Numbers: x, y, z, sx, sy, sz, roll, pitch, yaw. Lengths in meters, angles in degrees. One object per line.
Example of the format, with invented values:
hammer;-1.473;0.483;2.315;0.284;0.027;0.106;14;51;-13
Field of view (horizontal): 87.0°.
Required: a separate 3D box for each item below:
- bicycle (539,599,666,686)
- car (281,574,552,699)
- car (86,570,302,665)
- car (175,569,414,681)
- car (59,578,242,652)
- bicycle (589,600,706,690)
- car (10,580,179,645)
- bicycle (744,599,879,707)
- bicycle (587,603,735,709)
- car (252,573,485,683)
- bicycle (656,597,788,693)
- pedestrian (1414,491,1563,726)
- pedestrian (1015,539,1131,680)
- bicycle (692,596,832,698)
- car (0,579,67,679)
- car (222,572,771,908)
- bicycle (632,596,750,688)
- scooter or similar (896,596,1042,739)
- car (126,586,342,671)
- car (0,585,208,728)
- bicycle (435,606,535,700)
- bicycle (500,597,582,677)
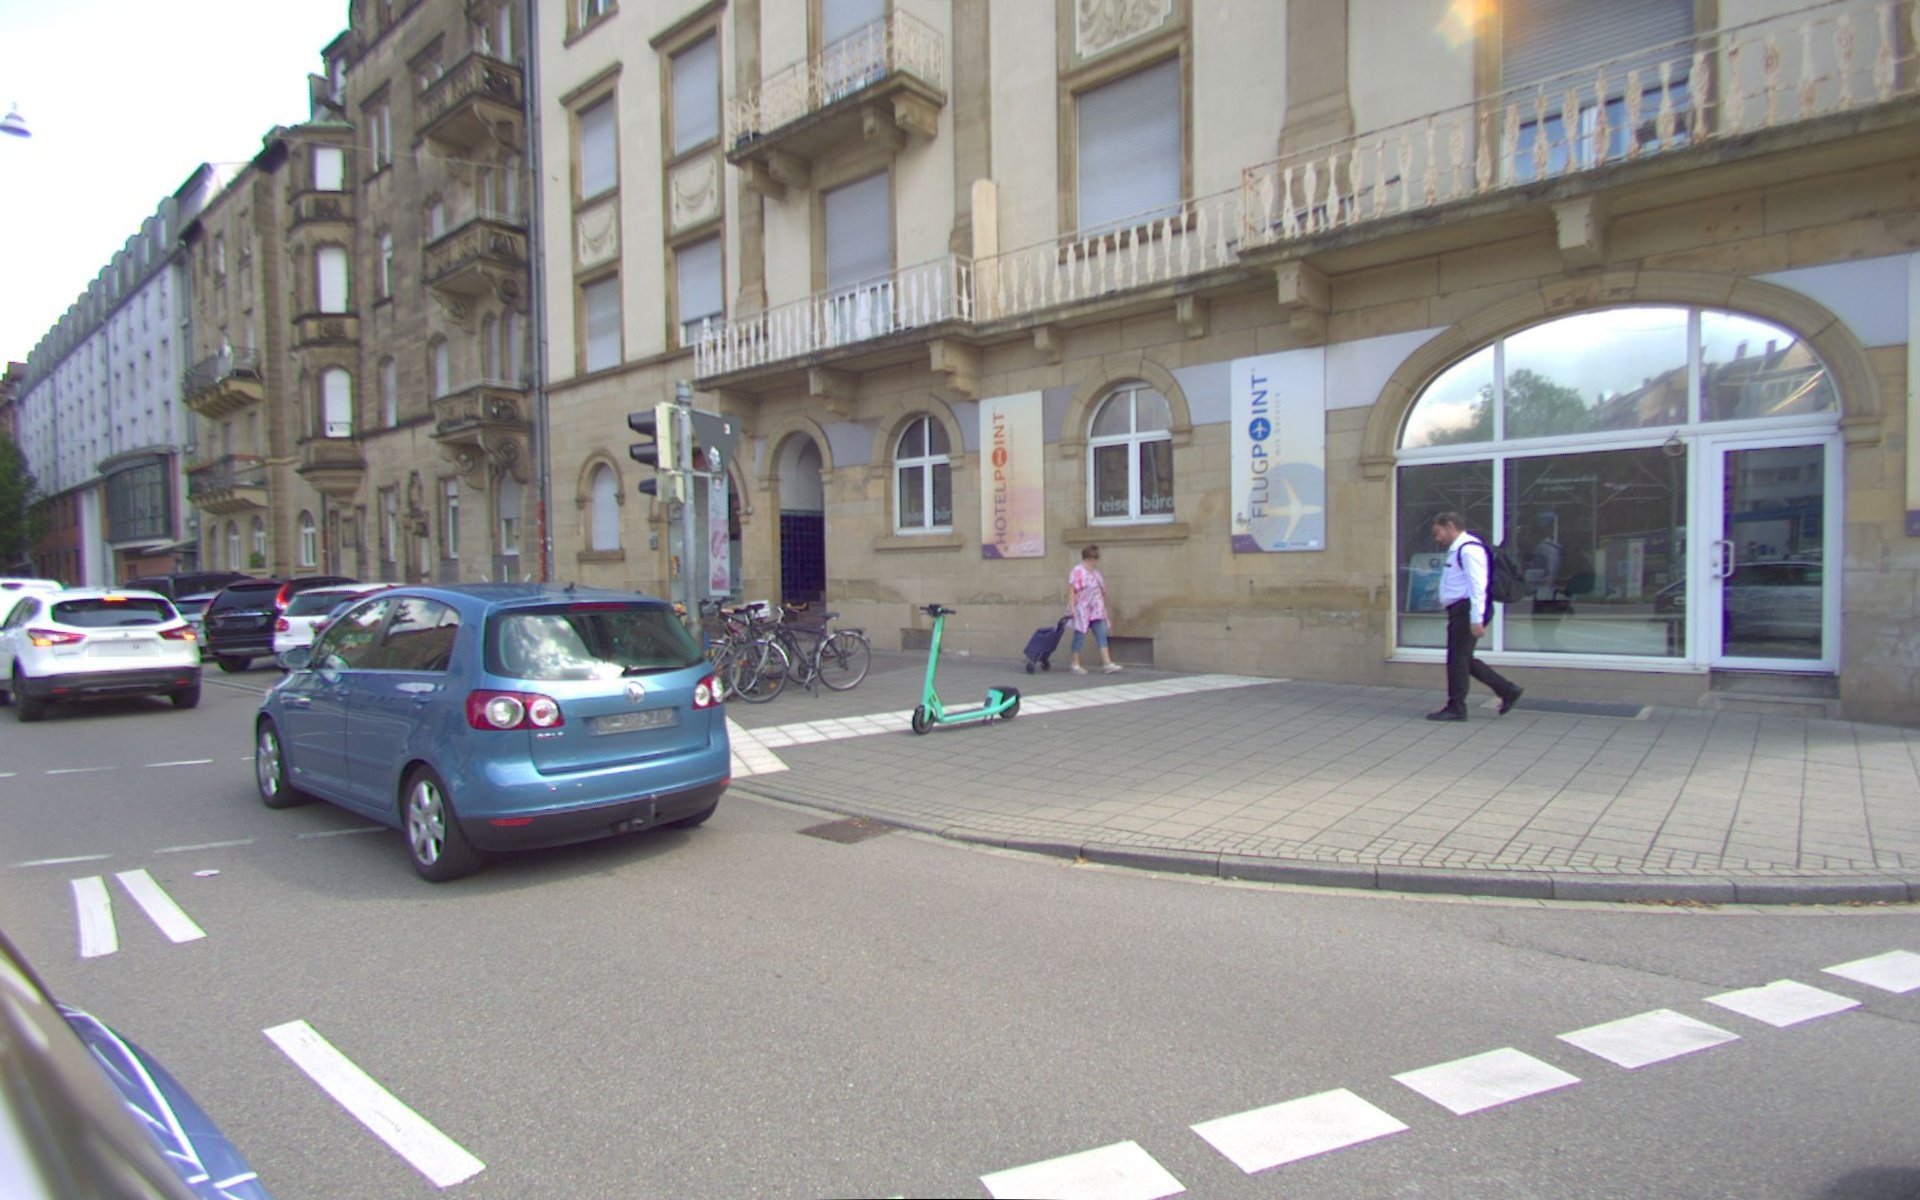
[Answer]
bicycle;-5.085;0.578;14.471;0.557;1.059;1.611;0;4;40
car;-8.113;0.446;15.600;1.788;1.467;3.997;-3;3;3
car;-17.855;0.330;23.863;1.711;1.881;3.947;-2;3;7
car;-12.532;0.378;19.408;1.778;1.701;3.954;-4;3;2
car;-22.195;0.333;27.982;1.708;1.596;3.954;-3;4;2
bicycle;-4.225;0.580;13.778;0.462;1.059;1.466;-1;4;38
car;-27.017;0.341;31.781;1.708;1.596;3.954;-4;4;2
bicycle;-1.664;0.564;11.484;1.421;1.059;0.481;-5;4;-39
bicycle;-3.482;0.620;11.870;1.558;1.059;0.481;-5;4;-41
car;-10.240;0.393;17.904;1.707;1.467;3.956;-4;4;0
bicycle;-3.034;0.543;12.991;1.558;1.059;0.481;-5;4;-41
pedestrian;4.505;0.031;8.638;0.905;1.873;0.794;4;5;41
pedestrian;1.406;0.094;12.561;0.996;1.606;0.931;0;5;42
bicycle;-2.366;0.538;12.239;1.589;1.059;0.481;-5;4;-41
car;-18.726;0.545;19.430;4.281;1.789;1.793;-1;0;41
car;-3.186;0.655;6.613;3.928;1.552;1.730;0;-1;40
bicycle;-3.563;0.532;13.496;0.462;1.059;1.464;0;4;42
scooter or similar;0.096;0.590;9.302;1.232;1.154;0.482;-4;4;-31
car;-15.863;0.544;22.400;1.709;1.439;3.952;-4;3;3
car;-11.603;0.647;13.383;4.017;1.594;1.753;-1;1;40
bicycle;-6.318;0.666;13.558;0.549;1.059;1.815;-3;3;-5
bicycle;-6.497;0.536;15.790;0.549;1.059;1.907;-3;3;-4
